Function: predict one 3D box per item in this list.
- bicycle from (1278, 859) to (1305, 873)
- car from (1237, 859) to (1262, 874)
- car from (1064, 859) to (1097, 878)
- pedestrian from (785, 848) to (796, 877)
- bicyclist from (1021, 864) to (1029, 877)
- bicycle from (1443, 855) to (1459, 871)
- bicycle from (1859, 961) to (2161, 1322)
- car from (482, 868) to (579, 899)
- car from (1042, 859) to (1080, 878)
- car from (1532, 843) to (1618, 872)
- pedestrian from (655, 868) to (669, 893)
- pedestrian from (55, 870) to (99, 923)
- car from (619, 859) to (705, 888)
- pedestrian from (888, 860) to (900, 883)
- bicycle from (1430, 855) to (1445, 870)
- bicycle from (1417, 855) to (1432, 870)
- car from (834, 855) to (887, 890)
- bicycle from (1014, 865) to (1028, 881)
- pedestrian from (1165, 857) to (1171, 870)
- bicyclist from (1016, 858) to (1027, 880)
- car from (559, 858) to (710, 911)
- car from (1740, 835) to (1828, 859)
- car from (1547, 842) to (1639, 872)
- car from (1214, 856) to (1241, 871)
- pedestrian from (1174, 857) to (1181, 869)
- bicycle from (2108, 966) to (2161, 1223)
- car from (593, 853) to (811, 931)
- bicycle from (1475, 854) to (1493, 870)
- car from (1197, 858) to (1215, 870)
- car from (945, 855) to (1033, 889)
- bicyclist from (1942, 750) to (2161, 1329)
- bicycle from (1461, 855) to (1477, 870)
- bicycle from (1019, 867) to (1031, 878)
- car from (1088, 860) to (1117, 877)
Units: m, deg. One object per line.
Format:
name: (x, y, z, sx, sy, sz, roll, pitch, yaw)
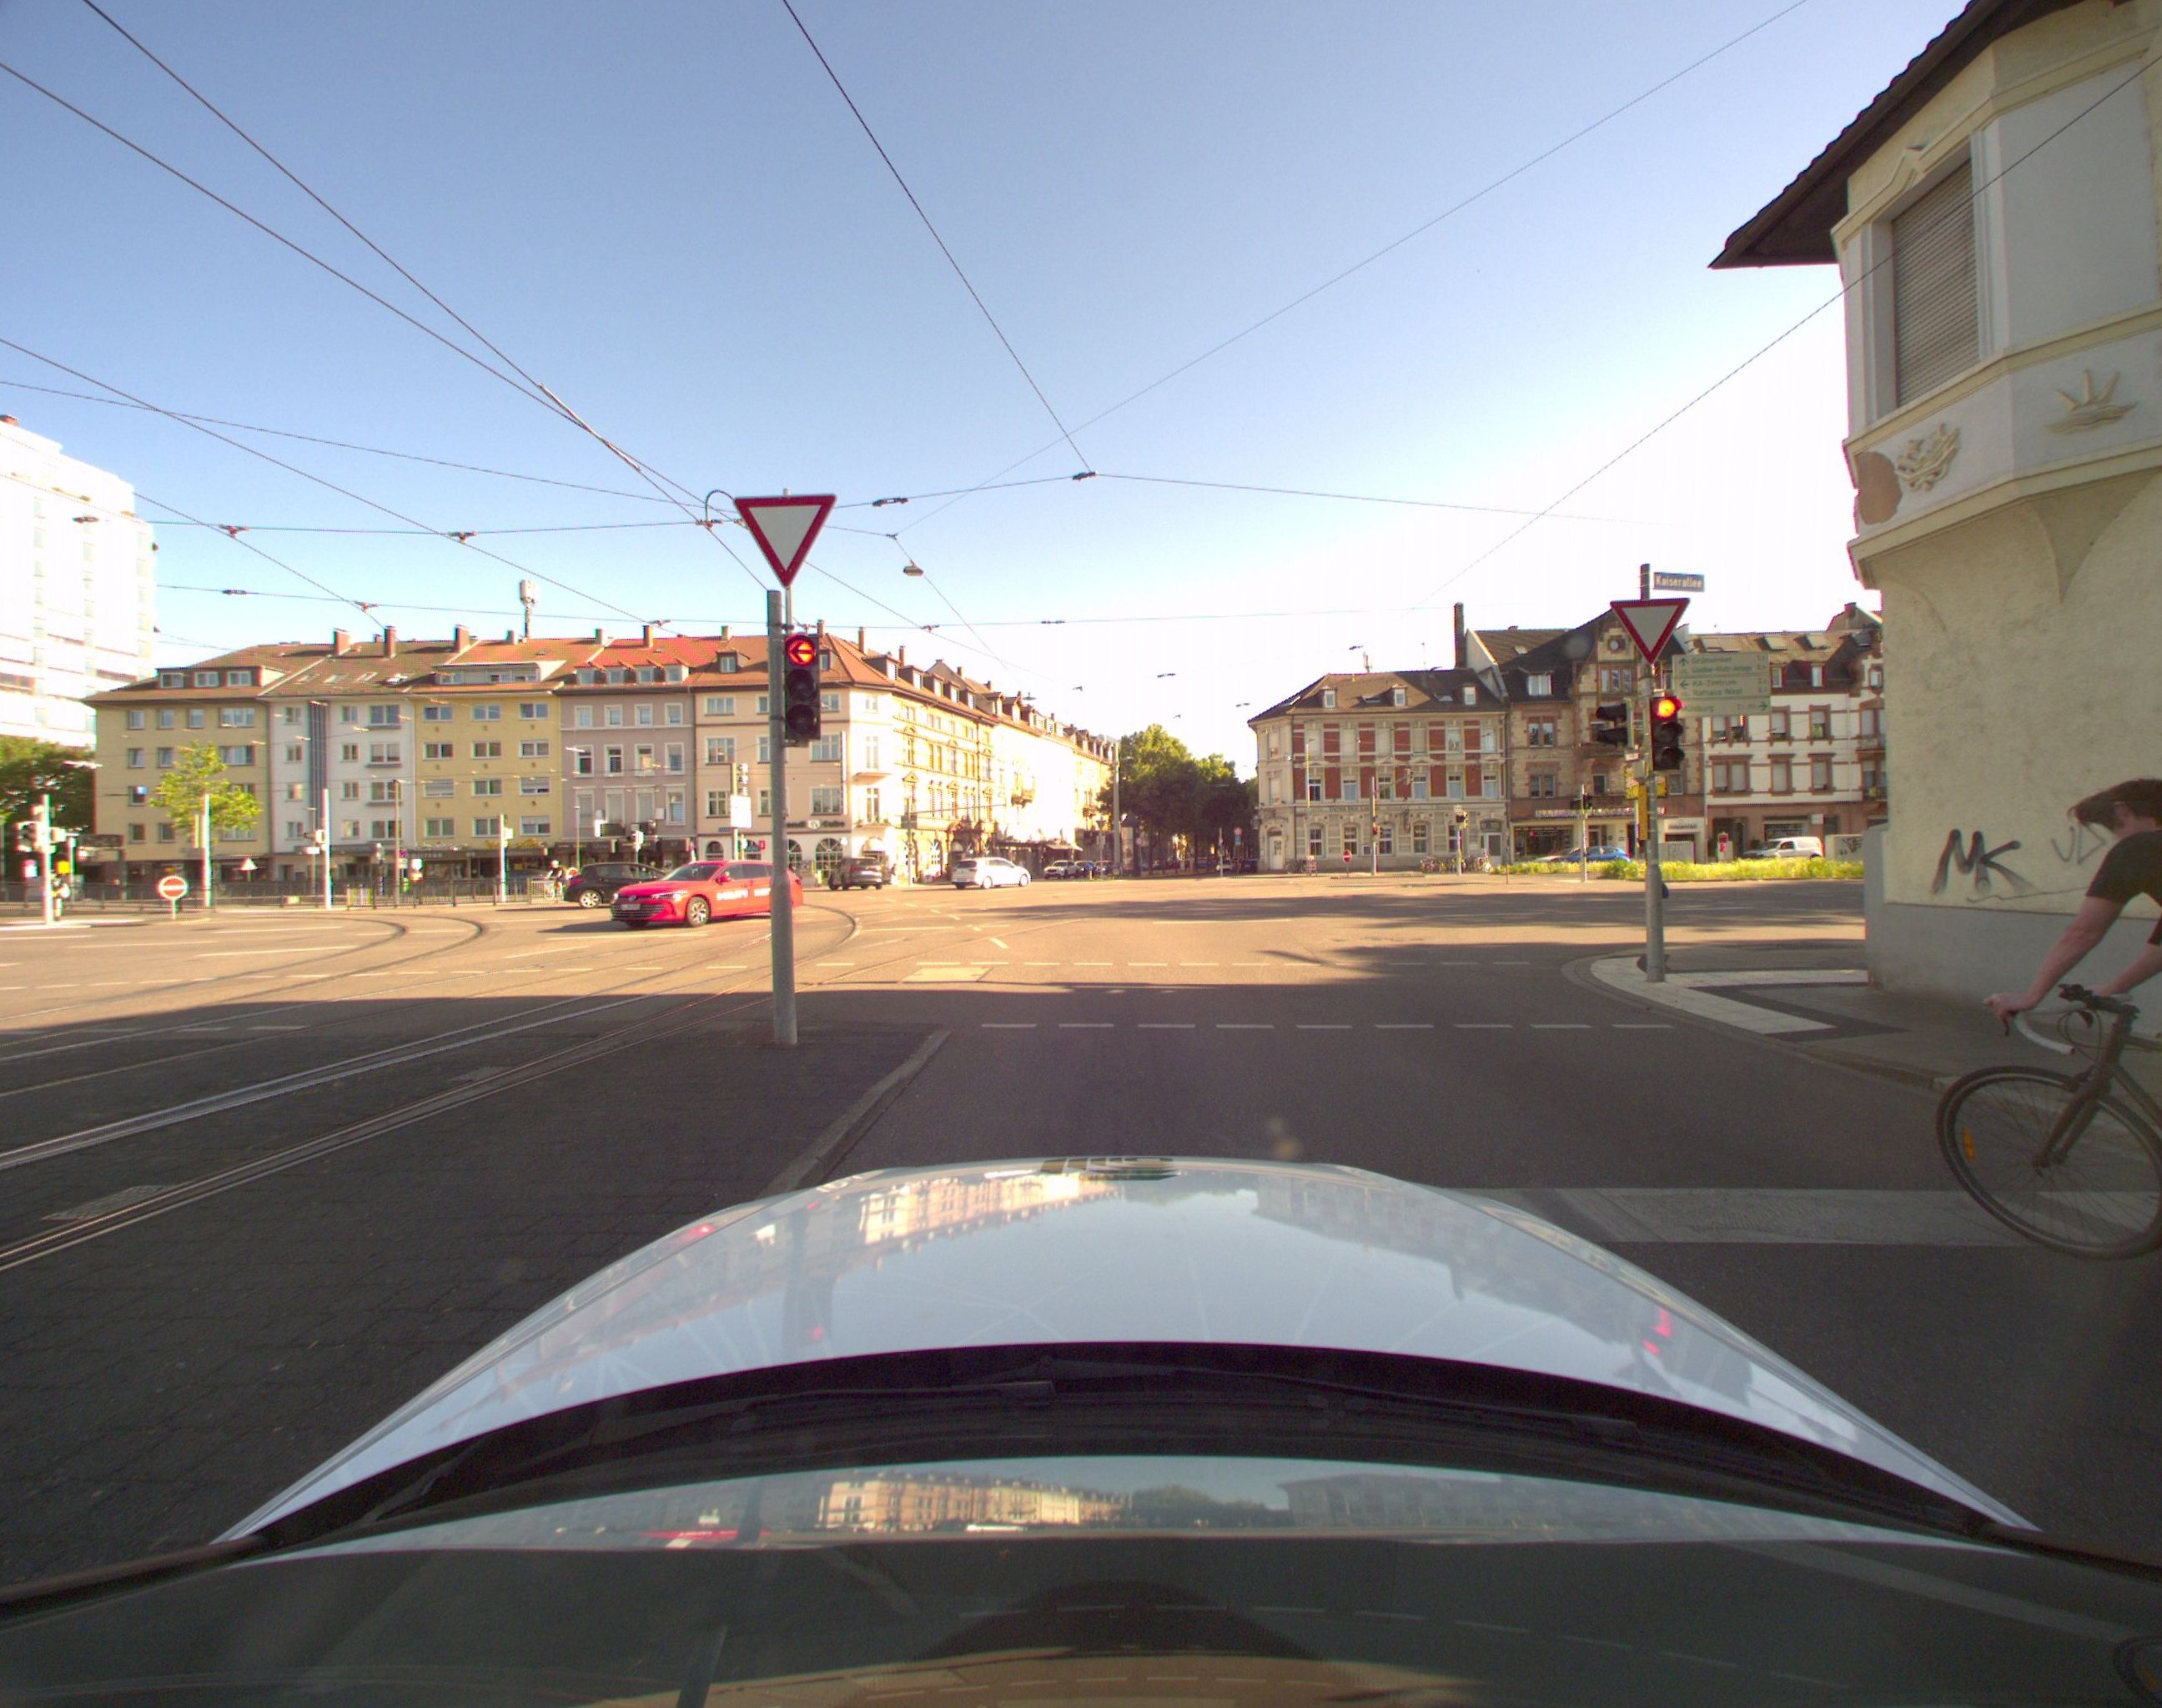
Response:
bicycle: (14.704, 0.832, 56.932, 1.789, 0.963, 0.606, -1, -1, 16)
car: (17.048, 1.246, 82.278, 1.741, 1.556, 4.021, -1, -1, 22)
car: (0.004, 1.296, 73.777, 1.809, 1.685, 3.893, -1, -1, 18)
pedestrian: (-18.471, 0.546, 51.741, 0.526, 1.823, 0.675, 0, -1, -6)
bicyclist: (-4.659, 1.349, 67.575, 0.469, 1.040, 0.540, -1, -1, 17)
bicycle: (24.044, 0.567, 52.982, 0.758, 0.983, 2.221, -1, -1, 20)
bicycle: (3.592, 0.954, 2.636, 0.480, 0.991, 1.783, 0, -1, 2)
car: (-30.543, 1.618, 45.244, 4.167, 1.575, 1.833, -1, 0, 3)
car: (-1.637, 1.183, 67.472, 1.788, 1.585, 4.179, -1, -1, 19)
car: (29.184, 0.201, 48.226, 3.970, 1.622, 1.806, 0, -1, 3)
pedestrian: (-27.643, 1.765, 53.706, 0.582, 1.648, 0.616, 0, -1, 1)
pedestrian: (-31.640, 1.325, 25.675, 0.770, 1.609, 0.605, 0, -1, -44)
car: (-23.723, 1.086, 46.172, 3.887, 1.503, 1.793, -1, 2, 5)
pedestrian: (-13.194, 1.241, 57.545, 0.666, 1.594, 0.815, 0, -1, 1)
bicycle: (23.257, 0.574, 53.106, 0.758, 0.968, 2.221, -1, -1, 20)
bicycle: (22.502, 0.581, 53.372, 0.758, 0.963, 2.221, -1, -1, 20)
car: (-11.189, 0.941, 41.110, 1.877, 1.602, 4.418, -2, 0, -24)
bicycle: (-4.789, 1.491, 65.313, 0.561, 1.254, 1.564, -1, -1, 17)
pedestrian: (12.946, 1.430, 121.180, 0.748, 2.014, 1.000, 0, -1, 5)
bicyclist: (-4.799, 1.195, 65.320, 0.561, 1.804, 0.918, -1, -1, 17)
car: (-14.702, 0.958, 27.096, 4.218, 1.517, 1.983, -2, 0, -26)
car: (45.195, -0.436, 52.451, 3.961, 1.438, 1.874, 0, -1, 5)
car: (28.327, 0.181, 45.131, 3.970, 1.622, 1.806, 0, -1, 3)
car: (16.307, 1.012, 90.506, 1.875, 1.454, 4.032, -2, 1, 26)
pedestrian: (13.717, 1.261, 115.594, 0.714, 1.790, 0.690, 0, -1, -34)
bicycle: (4.462, 0.947, 2.457, 0.501, 0.983, 1.783, 0, -1, 2)
car: (-8.616, 0.781, 19.123, 1.783, 1.469, 4.897, -1, 1, 17)
bicycle: (26.043, 0.537, 52.684, 0.785, 1.016, 2.221, -1, -1, 20)
car: (17.867, 1.365, 116.384, 1.978, 1.684, 4.018, -1, -1, 17)
car: (-4.210, 0.819, 38.023, 1.712, 1.389, 4.255, -2, 0, 33)
bicyclist: (3.588, 0.565, 2.640, 0.587, 1.767, 0.936, 0, -1, 2)
bicycle: (25.153, 0.545, 52.801, 0.758, 1.007, 2.231, -1, -1, 20)
bicycle: (-4.658, 1.509, 67.563, 0.469, 0.922, 1.458, -1, -1, 17)
car: (2.129, 1.381, 79.866, 1.788, 1.575, 3.908, -1, -1, 17)
